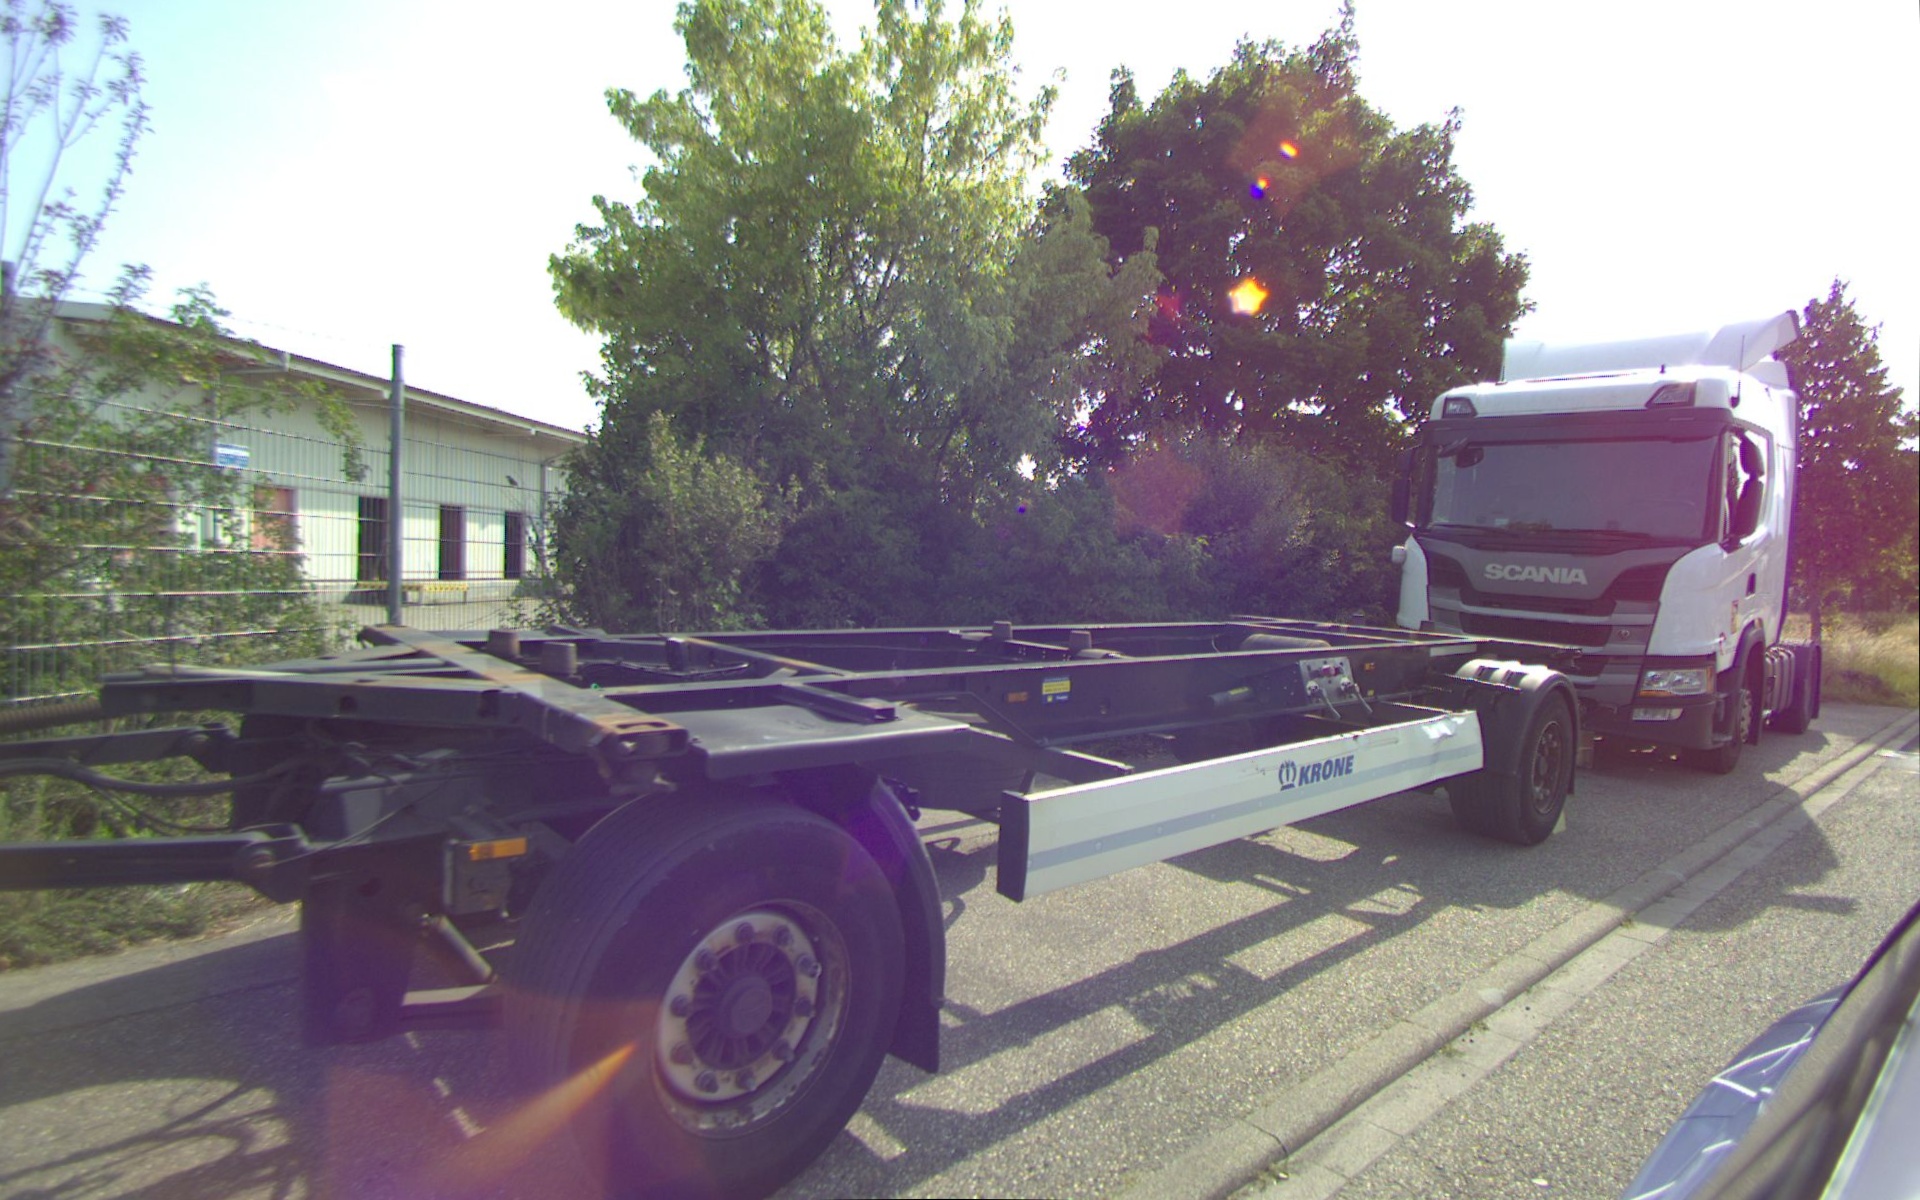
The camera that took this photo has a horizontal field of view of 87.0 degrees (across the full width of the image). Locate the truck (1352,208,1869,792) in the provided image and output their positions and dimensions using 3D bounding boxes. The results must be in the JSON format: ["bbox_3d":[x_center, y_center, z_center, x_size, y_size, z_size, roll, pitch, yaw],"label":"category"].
[{"bbox_3d":[6.681,-0.765,10.010,5.946,4.012,2.696,0,4,-43],"label":"truck"}]

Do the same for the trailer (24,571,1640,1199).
[{"bbox_3d":[0.803,0.633,4.578,7.321,1.250,1.943,0,4,-42],"label":"trailer"}]

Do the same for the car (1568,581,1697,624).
[{"bbox_3d":[29.564,0.101,44.602,4.285,1.581,1.757,3,4,7],"label":"car"}]
